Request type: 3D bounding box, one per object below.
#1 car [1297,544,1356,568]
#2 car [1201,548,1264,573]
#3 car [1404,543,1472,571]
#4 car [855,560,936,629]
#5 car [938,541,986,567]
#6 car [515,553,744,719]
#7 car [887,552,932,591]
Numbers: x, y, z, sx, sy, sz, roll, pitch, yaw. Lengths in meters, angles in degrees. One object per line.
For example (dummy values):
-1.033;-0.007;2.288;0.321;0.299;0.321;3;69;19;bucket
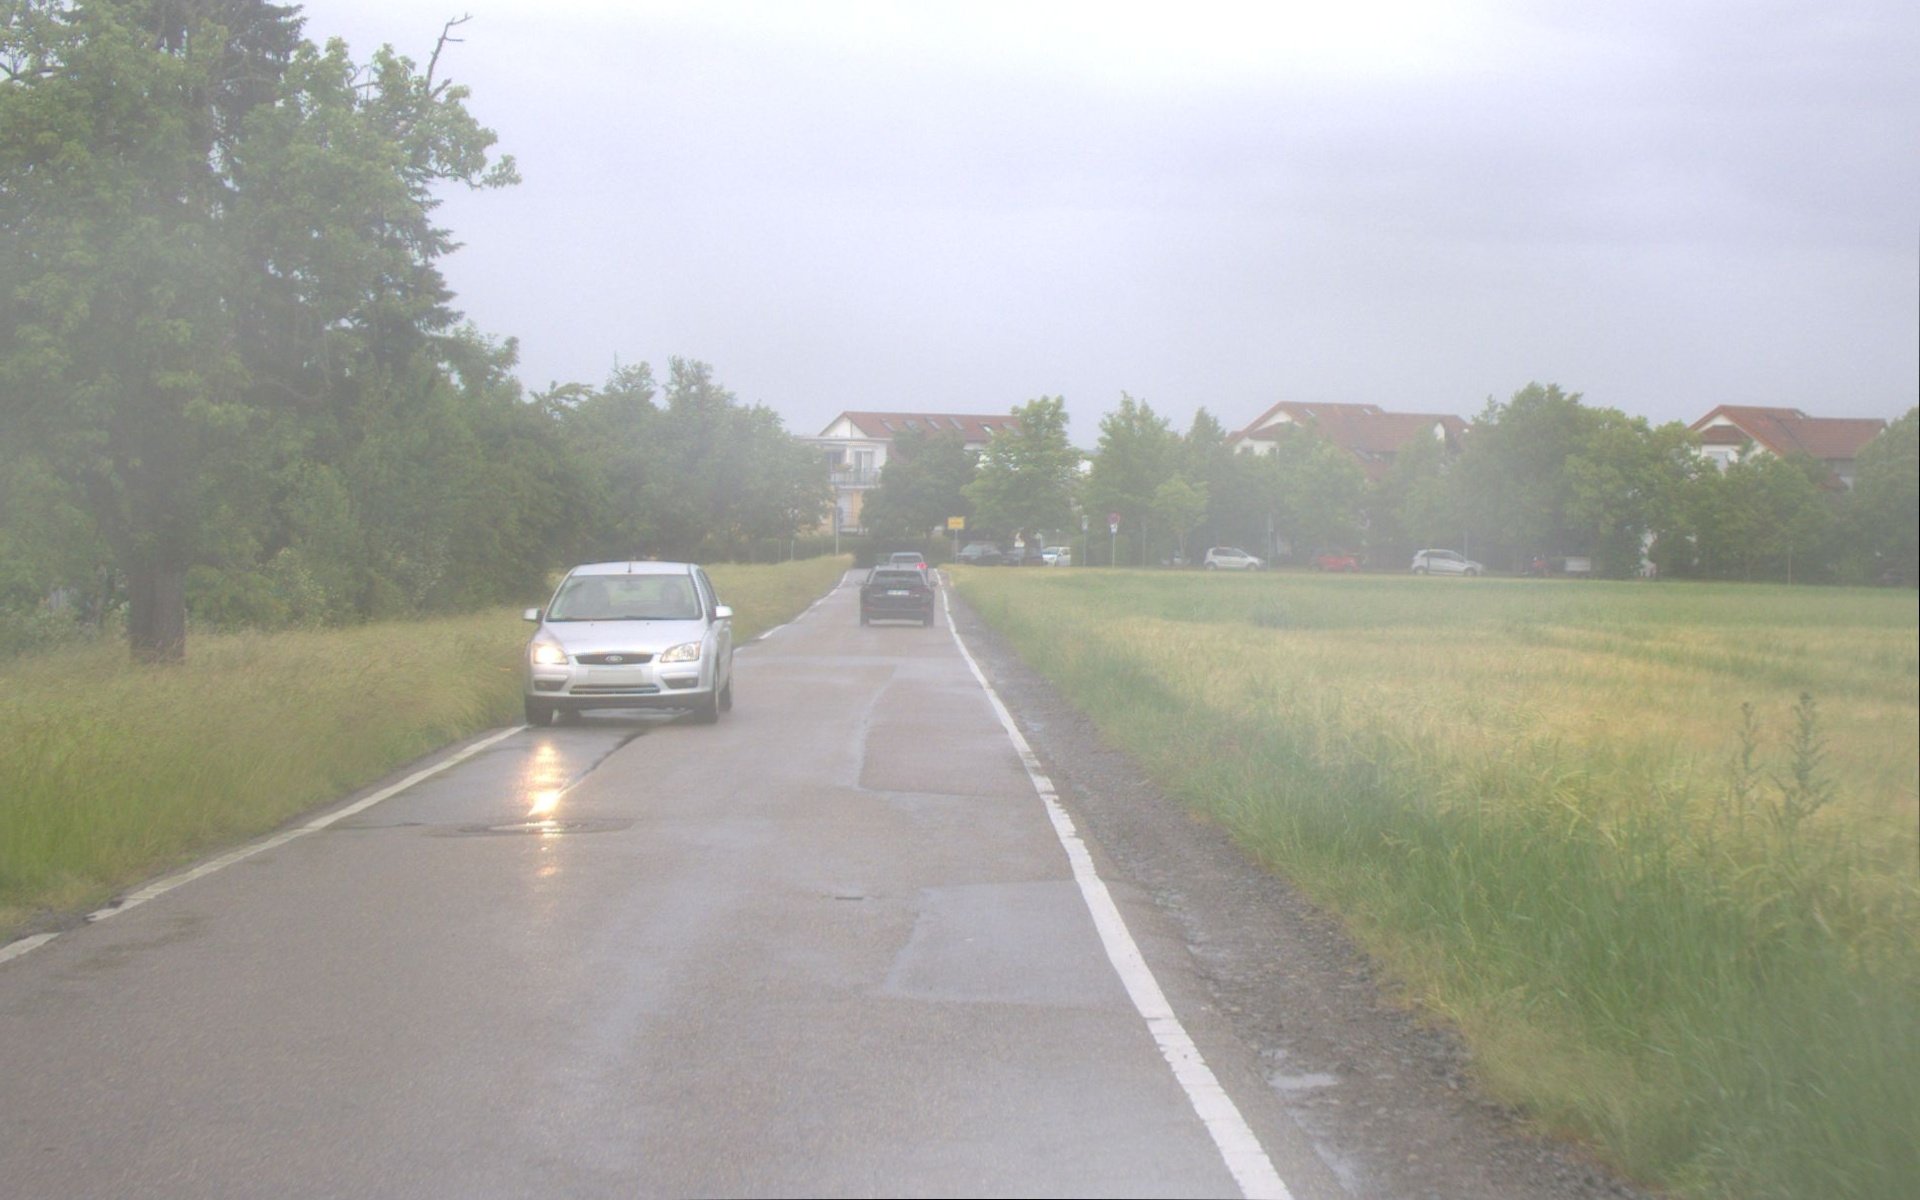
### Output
20.844;-2.501;195.623;3.194;1.366;1.571;0;-1;13;car
15.616;-2.277;196.751;3.392;1.366;1.547;0;-1;13;car
26.994;-2.421;194.092;3.711;1.558;1.609;0;-1;13;car
-1.533;-0.116;82.571;1.814;1.588;4.000;1;-1;0;car
0.125;-3.005;224.697;1.663;1.541;3.995;0;-1;24;car
-3.085;0.346;32.796;1.739;1.466;4.122;1;-1;0;car
-2.165;-1.200;147.116;1.814;1.588;4.000;1;-1;0;car
